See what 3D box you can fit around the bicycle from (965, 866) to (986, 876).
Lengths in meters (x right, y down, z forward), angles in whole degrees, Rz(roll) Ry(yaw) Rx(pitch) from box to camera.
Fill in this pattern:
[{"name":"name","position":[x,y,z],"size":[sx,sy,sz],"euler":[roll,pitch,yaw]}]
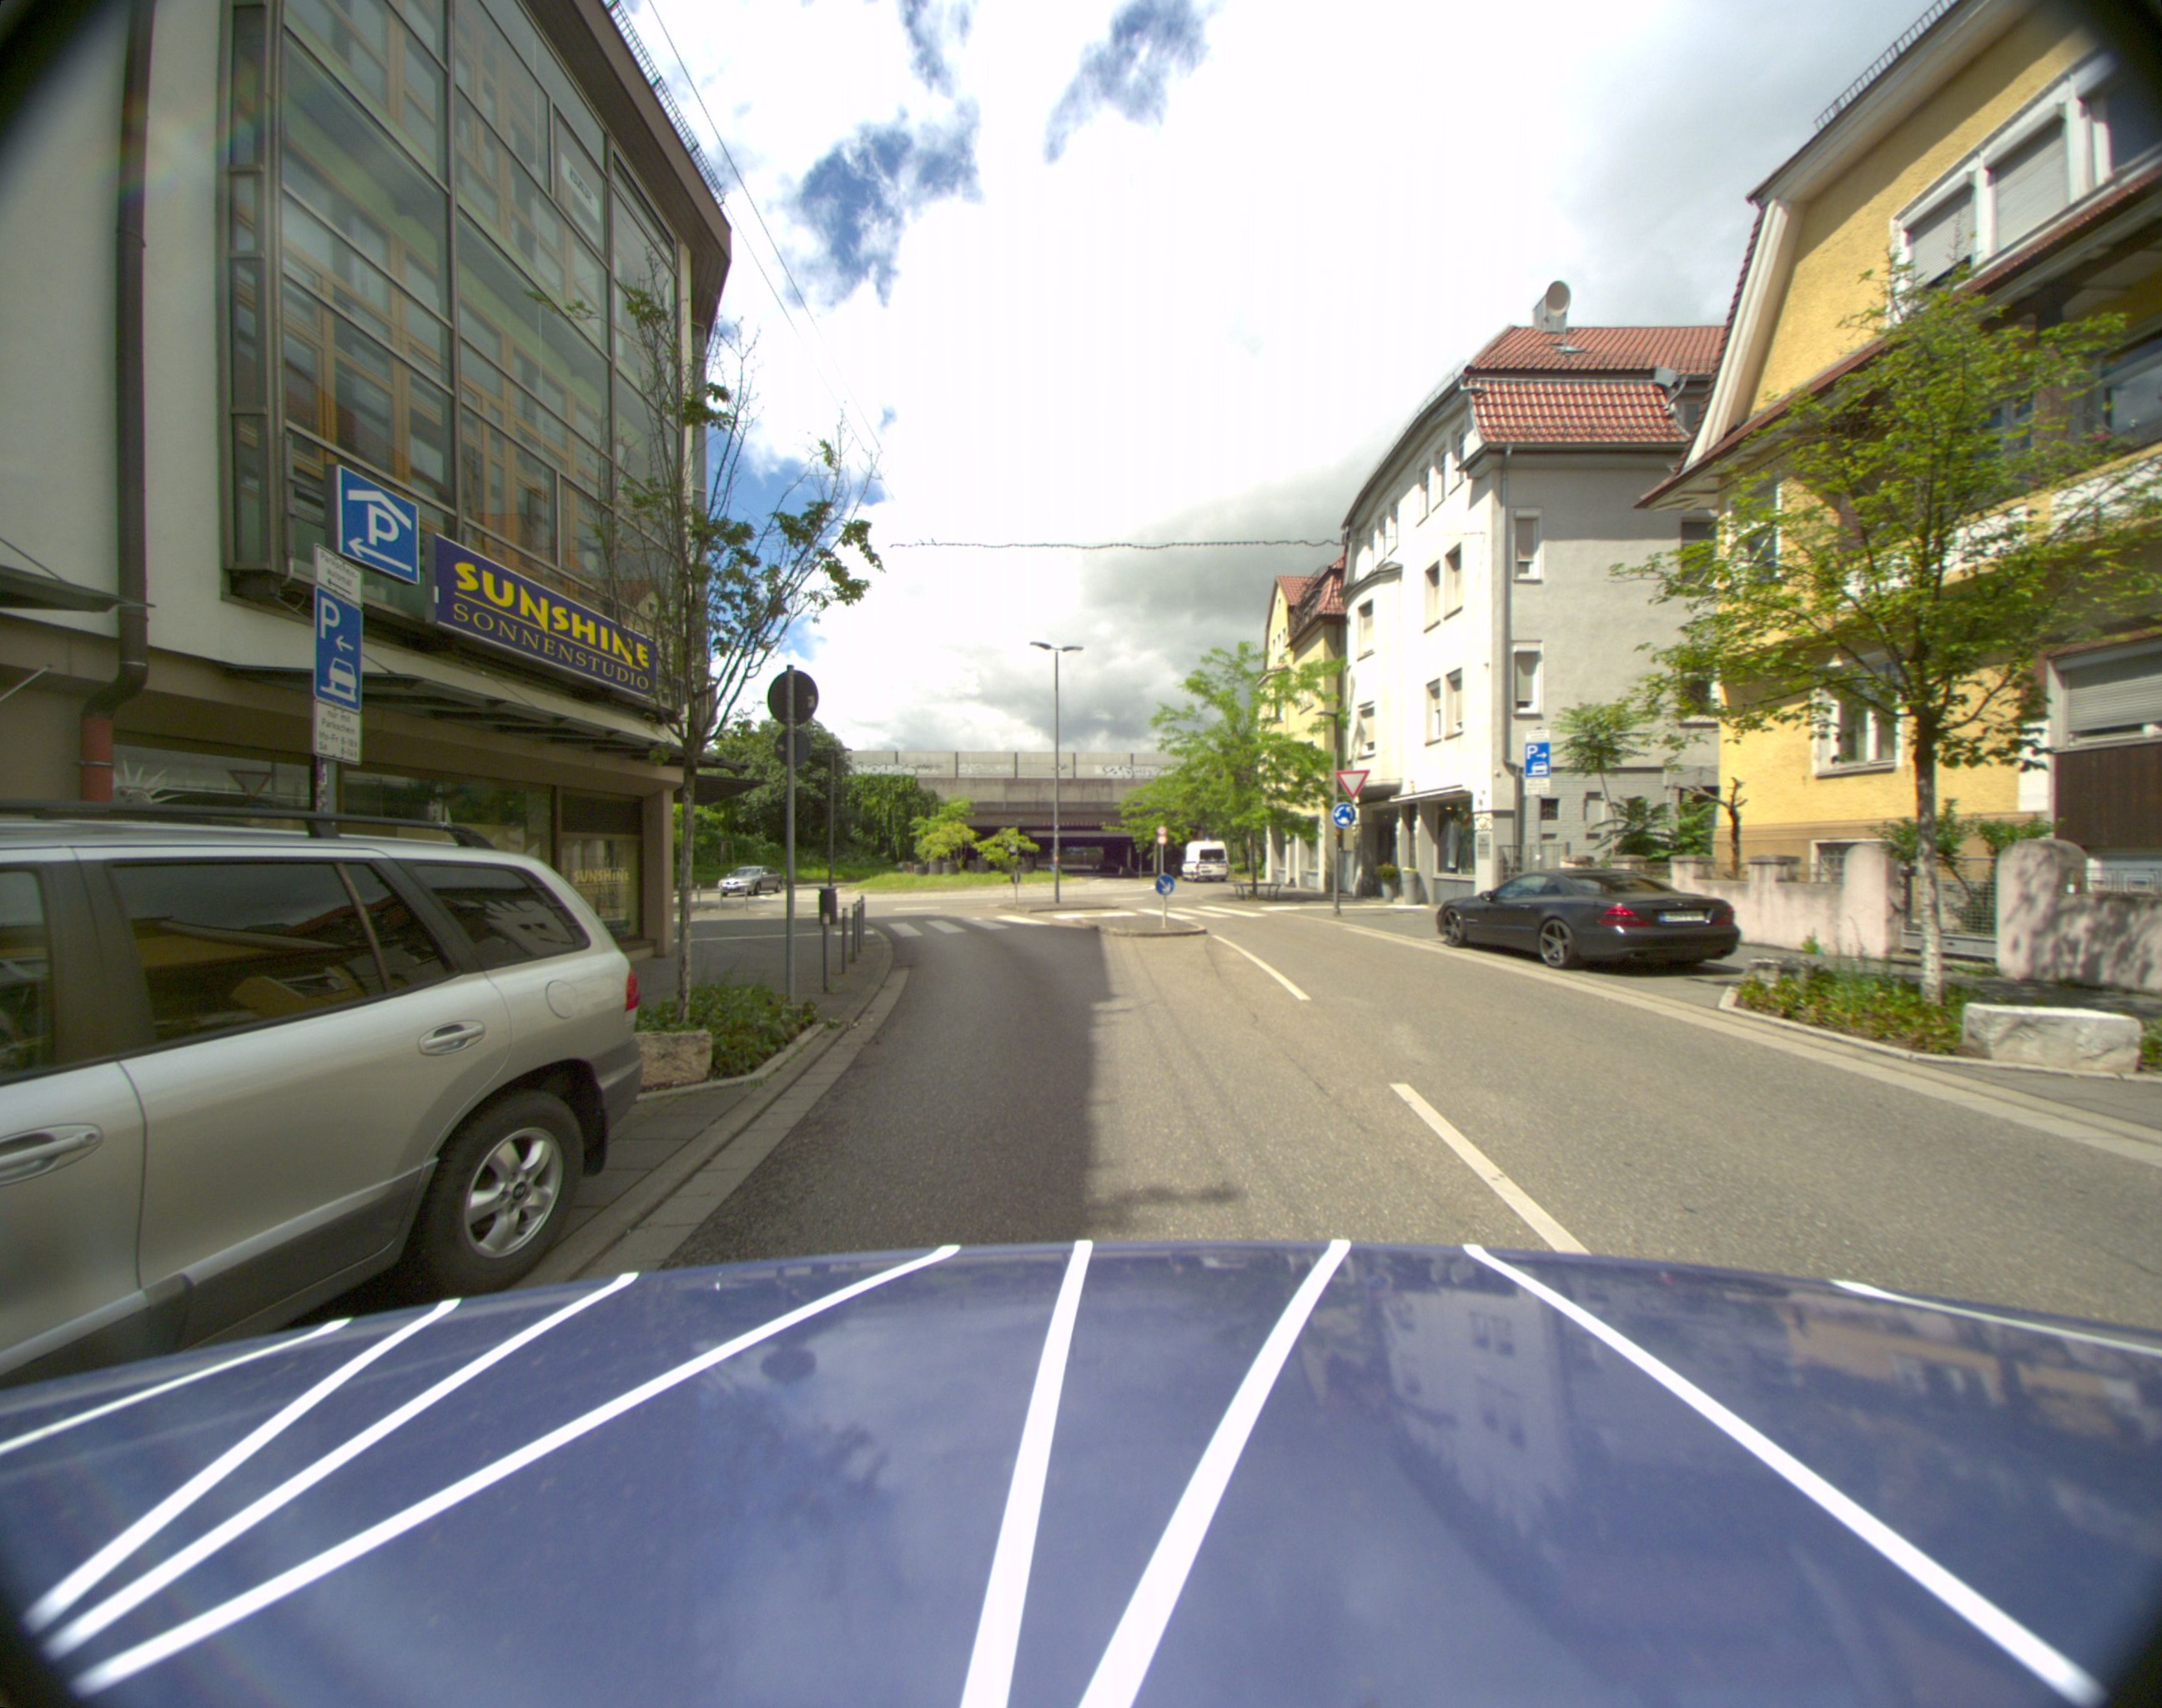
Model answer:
[{"name":"bicycle","position":[-10.251,1.632,73.820],"size":[1.950,0.899,0.506],"euler":[0,1,-3]}]

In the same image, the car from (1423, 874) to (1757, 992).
[{"name":"car","position":[6.784,0.957,10.836],"size":[1.714,1.238,4.411],"euler":[-1,-1,-1]}]

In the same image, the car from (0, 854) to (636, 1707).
[{"name":"car","position":[-3.075,0.869,1.364],"size":[1.828,1.721,4.234],"euler":[0,0,4]}]

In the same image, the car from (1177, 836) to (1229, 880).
[{"name":"car","position":[7.751,0.280,48.795],"size":[1.973,2.591,5.929],"euler":[-2,0,-3]}]

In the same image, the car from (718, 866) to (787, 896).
[{"name":"car","position":[-16.505,1.328,38.410],"size":[1.714,1.346,4.000],"euler":[-1,0,0]}]
